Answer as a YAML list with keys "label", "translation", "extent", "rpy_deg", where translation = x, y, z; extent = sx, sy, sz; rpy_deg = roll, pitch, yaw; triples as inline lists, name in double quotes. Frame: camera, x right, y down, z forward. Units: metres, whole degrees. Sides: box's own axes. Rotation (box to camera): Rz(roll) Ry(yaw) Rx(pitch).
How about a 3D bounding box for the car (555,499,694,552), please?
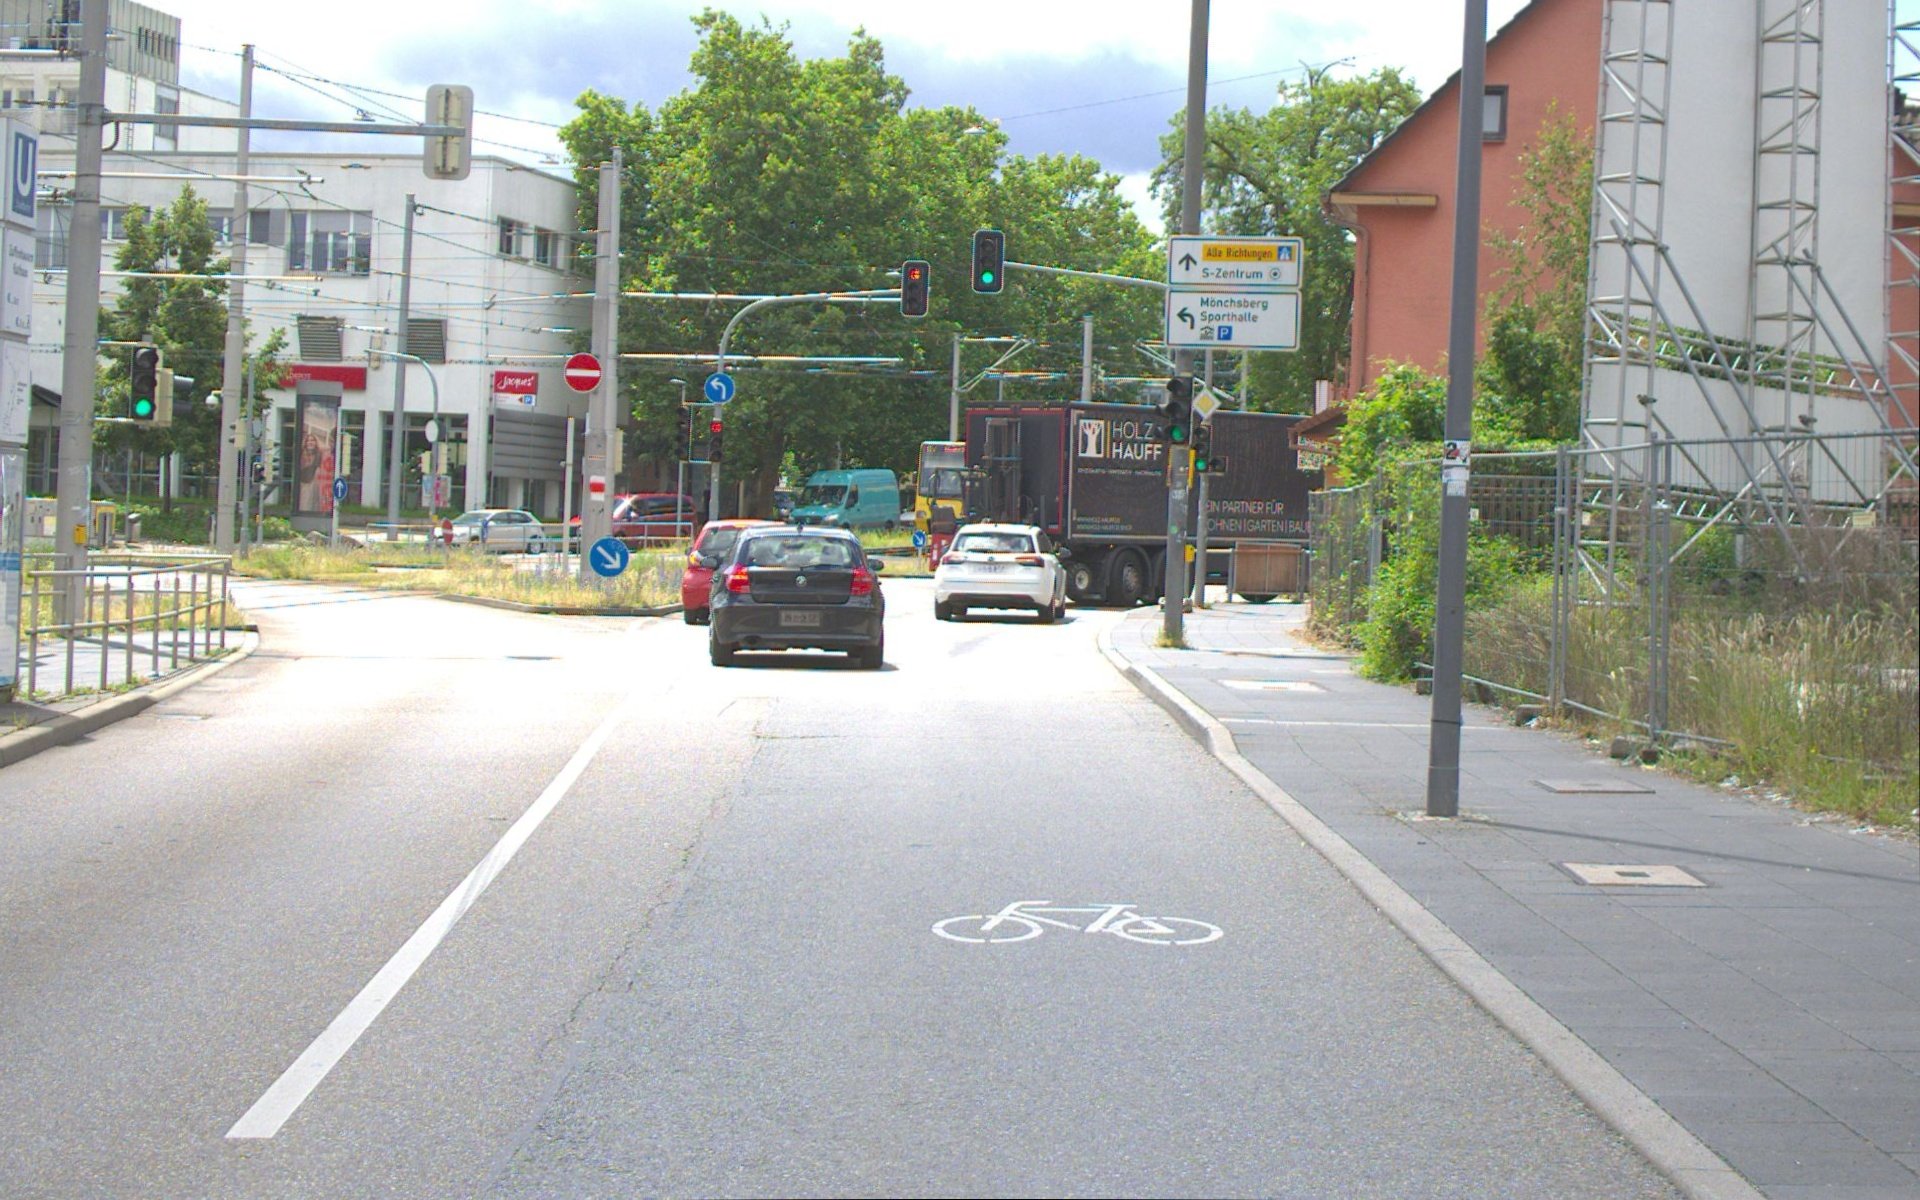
- label: "car"
  translation: [-10.687, -2.358, 109.592]
  extent: [1.998, 1.594, 4.189]
  rpy_deg: [3, 2, 39]

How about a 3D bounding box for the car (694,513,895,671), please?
- label: "car"
  translation: [-1.746, -0.124, 35.226]
  extent: [1.726, 1.451, 3.810]
  rpy_deg: [1, 2, -7]

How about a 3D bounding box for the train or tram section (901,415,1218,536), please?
- label: "train or tram section"
  translation: [3.721, -4.100, 117.007]
  extent: [2.701, 3.737, 18.332]
  rpy_deg: [3, 2, 28]

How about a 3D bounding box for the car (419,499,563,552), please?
- label: "car"
  translation: [-14.287, -2.258, 104.823]
  extent: [1.998, 1.459, 3.990]
  rpy_deg: [3, 1, 40]

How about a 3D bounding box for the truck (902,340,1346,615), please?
- label: "truck"
  translation: [3.244, -2.209, 64.818]
  extent: [3.211, 4.520, 9.006]
  rpy_deg: [3, 0, 41]

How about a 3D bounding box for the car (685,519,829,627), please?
- label: "car"
  translation: [-2.821, -0.414, 48.461]
  extent: [1.712, 1.388, 3.809]
  rpy_deg: [2, 2, 1]

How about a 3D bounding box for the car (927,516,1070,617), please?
- label: "car"
  translation: [0.638, -0.516, 53.311]
  extent: [1.888, 1.460, 4.068]
  rpy_deg: [1, 1, 5]

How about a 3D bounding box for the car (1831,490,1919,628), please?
- label: "car"
  translation: [8.310, -0.376, 29.339]
  extent: [1.072, 1.117, 2.446]
  rpy_deg: [0, 2, -2]

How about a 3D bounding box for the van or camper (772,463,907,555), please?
- label: "van or camper"
  translation: [-4.180, -3.174, 120.497]
  extent: [2.178, 2.796, 6.061]
  rpy_deg: [3, -1, 24]
